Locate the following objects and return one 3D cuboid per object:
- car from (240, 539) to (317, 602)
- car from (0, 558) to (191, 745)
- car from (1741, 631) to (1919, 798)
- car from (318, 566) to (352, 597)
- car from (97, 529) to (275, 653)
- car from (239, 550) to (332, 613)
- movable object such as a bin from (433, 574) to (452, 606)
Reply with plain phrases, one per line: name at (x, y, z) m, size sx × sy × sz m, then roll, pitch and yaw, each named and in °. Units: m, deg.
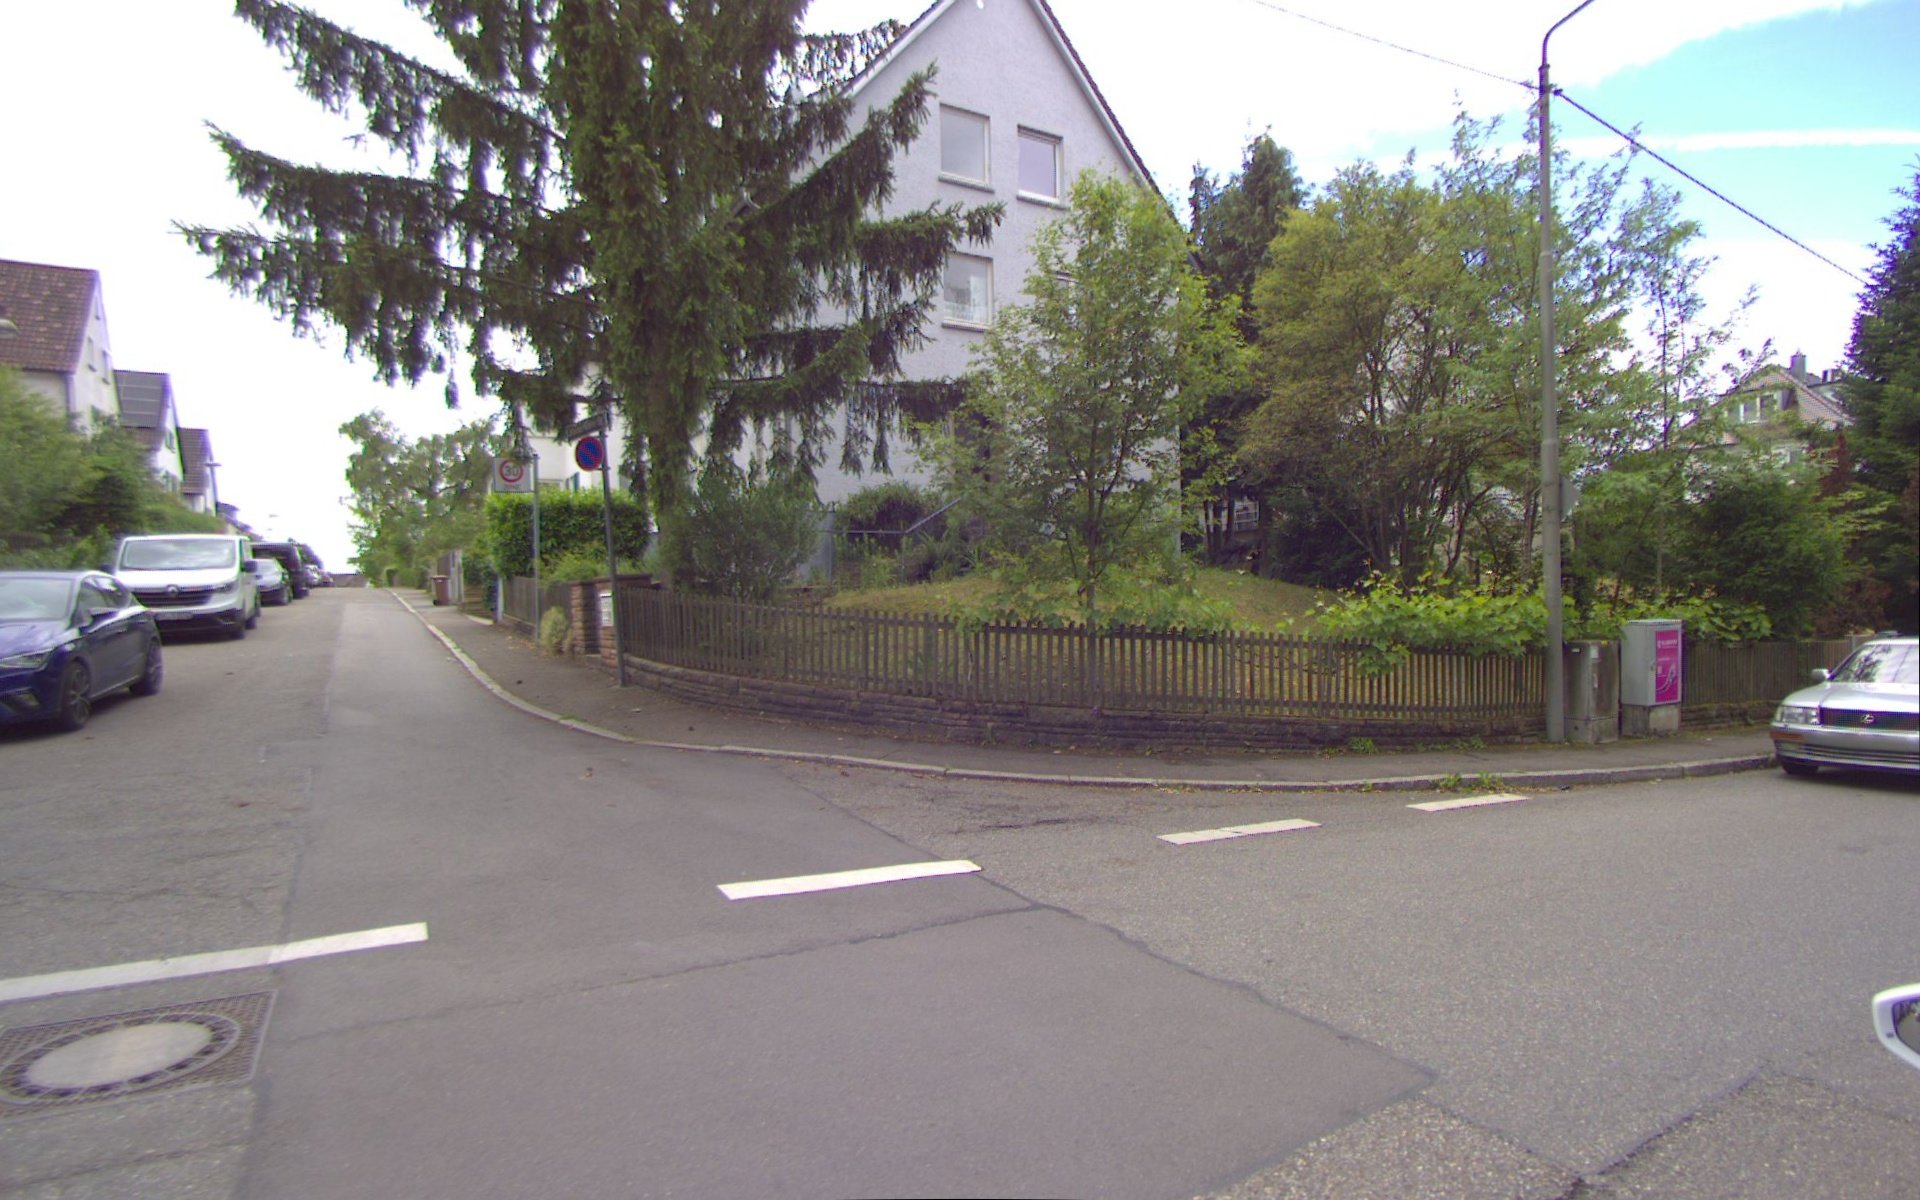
car at (-25.306, -1.119, 37.420) m, size 1.906 × 2.162 × 4.082 m, roll -4°, pitch 4°, yaw -29°
car at (-9.124, 0.362, 9.816) m, size 1.698 × 1.503 × 3.974 m, roll 0°, pitch 2°, yaw -25°
car at (10.278, 1.057, 10.463) m, size 4.855 × 1.458 × 1.838 m, roll 1°, pitch -2°, yaw -32°
car at (-47.758, -1.448, 76.818) m, size 1.906 × 2.162 × 4.082 m, roll -4°, pitch 4°, yaw -29°
car at (-14.691, -0.264, 19.376) m, size 1.906 × 2.025 × 4.895 m, roll -4°, pitch 4°, yaw -29°
car at (-20.150, -0.614, 30.162) m, size 1.906 × 1.679 × 4.082 m, roll -4°, pitch 4°, yaw -29°
movable object such as a bin at (-16.262, -0.322, 31.575) m, size 0.510 × 1.001 × 0.414 m, roll 1°, pitch 2°, yaw -30°
